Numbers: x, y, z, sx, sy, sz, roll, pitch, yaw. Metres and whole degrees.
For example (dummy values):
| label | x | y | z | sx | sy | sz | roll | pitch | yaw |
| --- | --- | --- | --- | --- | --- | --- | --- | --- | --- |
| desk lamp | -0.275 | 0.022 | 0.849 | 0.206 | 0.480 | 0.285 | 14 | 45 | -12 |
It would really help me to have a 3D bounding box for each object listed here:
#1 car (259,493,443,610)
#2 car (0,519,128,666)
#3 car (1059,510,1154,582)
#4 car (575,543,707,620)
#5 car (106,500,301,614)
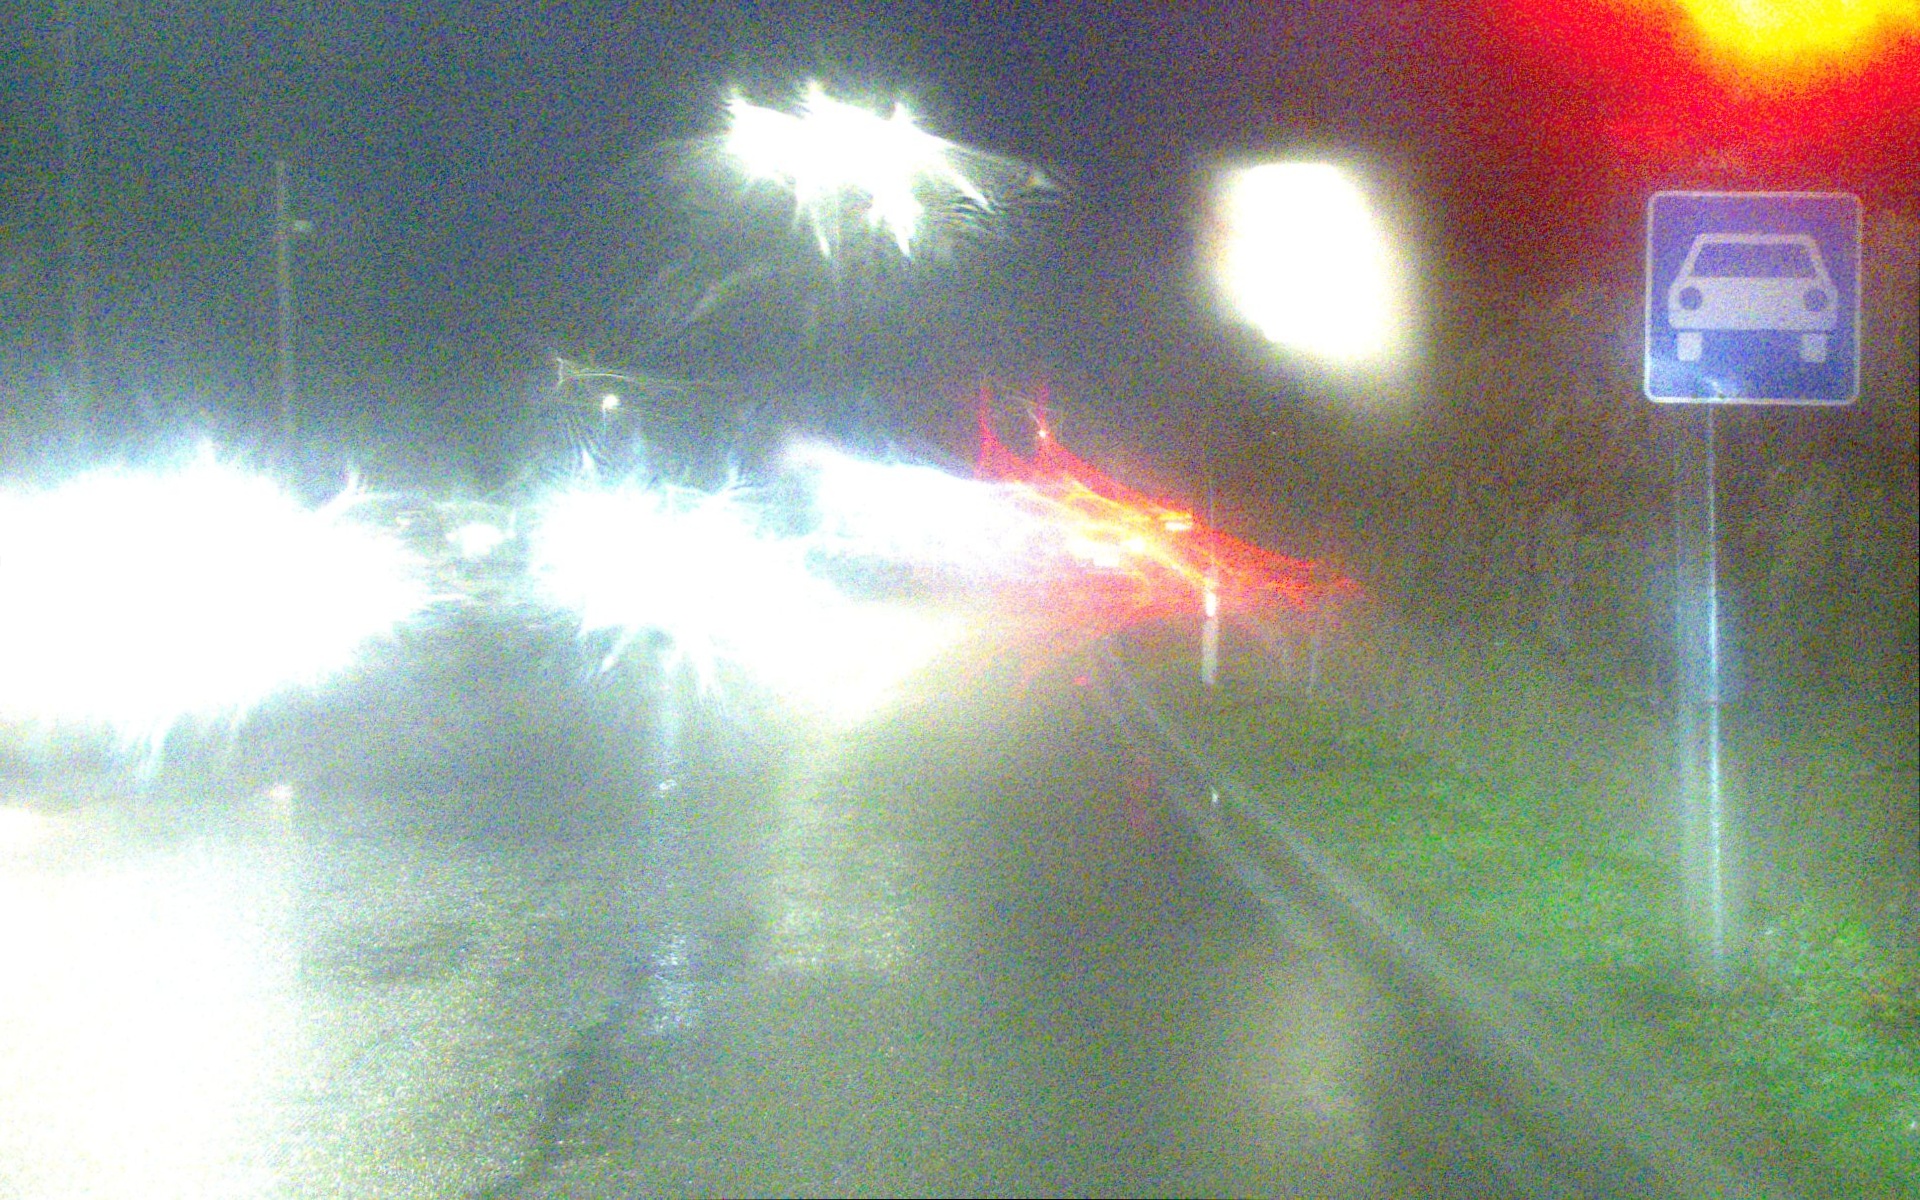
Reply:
| label | x | y | z | sx | sy | sz | roll | pitch | yaw |
| --- | --- | --- | --- | --- | --- | --- | --- | --- | --- |
| car | -9.108 | -0.712 | 51.728 | 1.718 | 1.697 | 4.142 | 0 | 0 | 5 |
| car | -10.345 | -0.081 | 37.260 | 1.585 | 1.520 | 3.651 | 0 | 0 | 3 |
| car | 3.356 | -1.220 | 79.428 | 1.993 | 1.605 | 4.103 | 0 | 0 | -1 |
| car | -6.570 | -0.377 | 71.169 | 1.708 | 1.529 | 4.599 | 0 | 0 | 8 |
| car | -11.724 | -0.647 | 53.518 | 1.994 | 1.714 | 4.000 | 0 | 0 | 2 |
